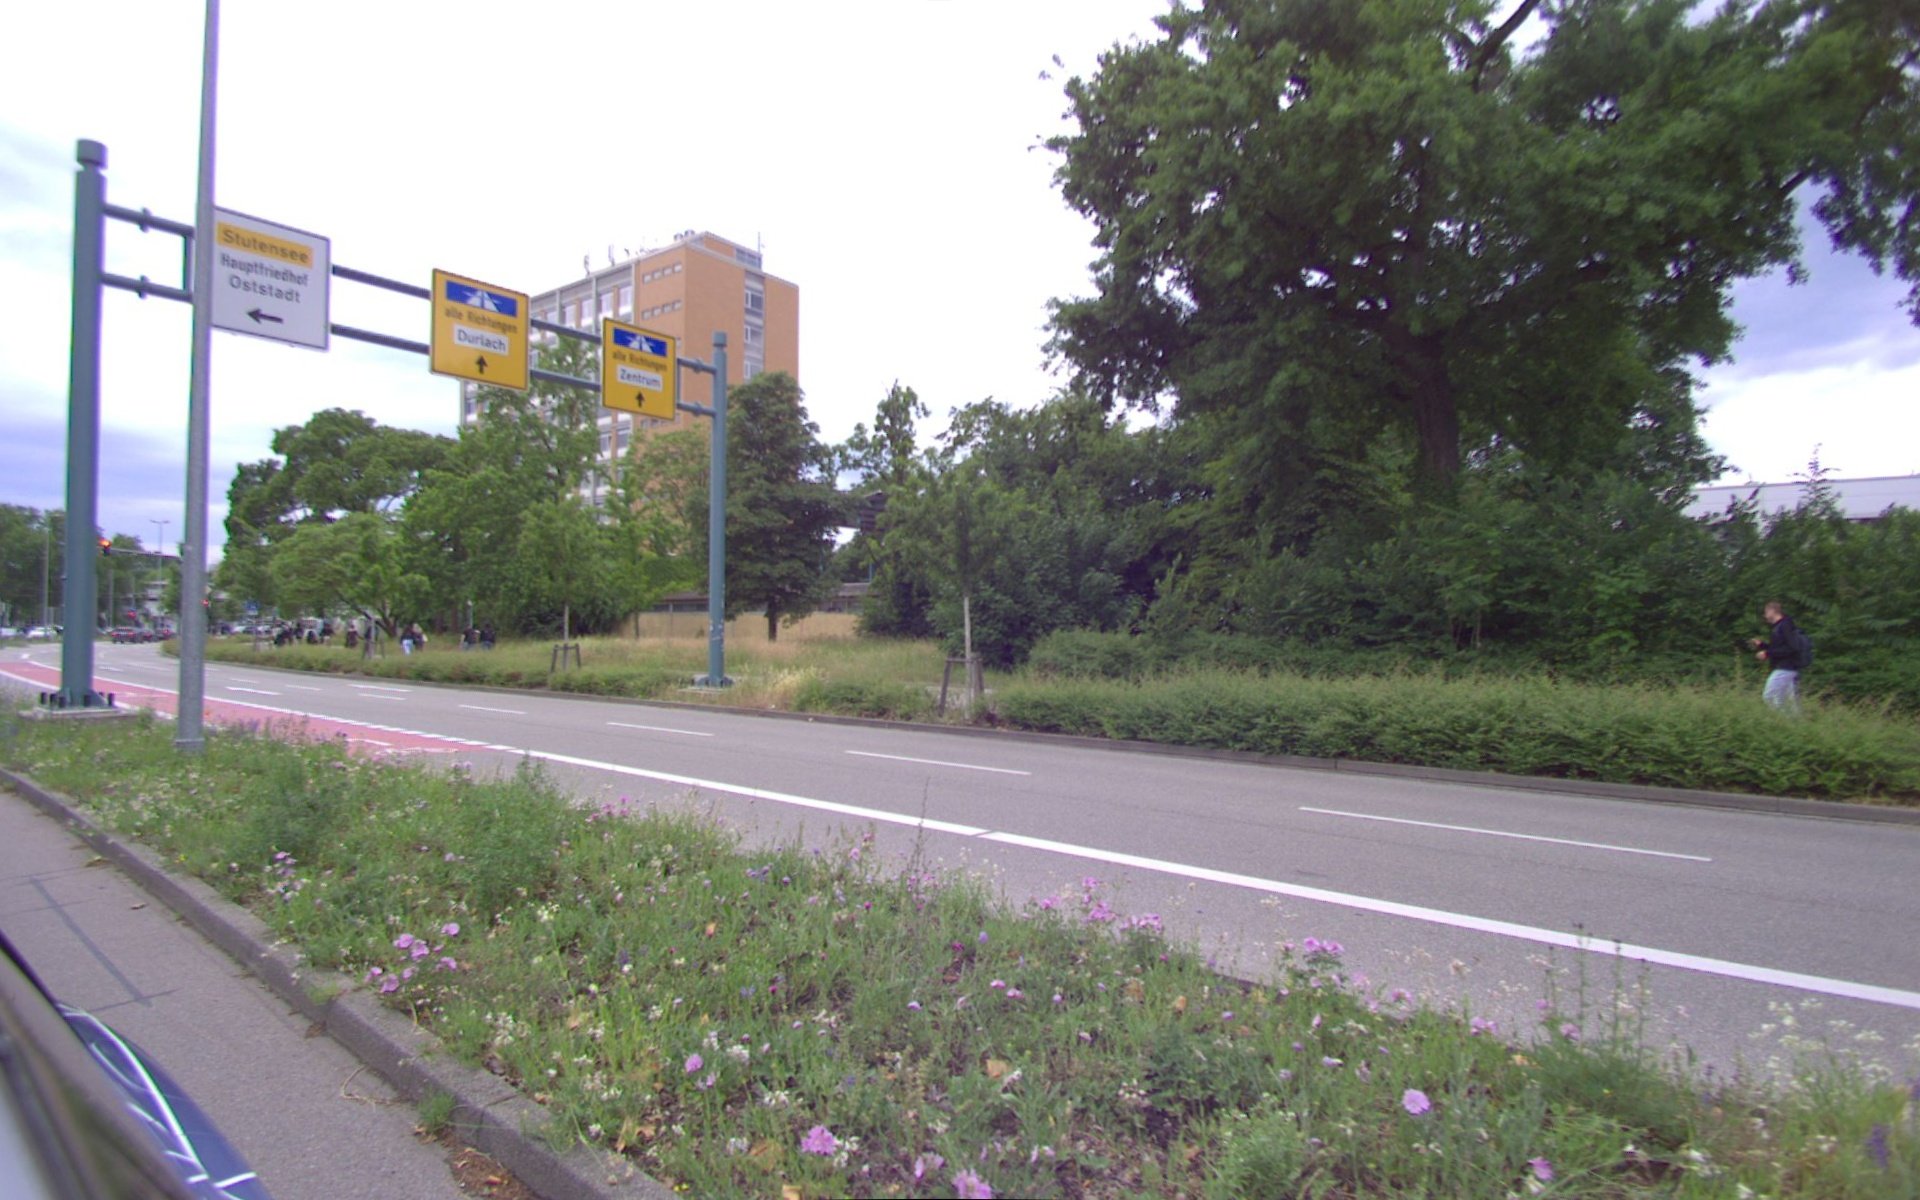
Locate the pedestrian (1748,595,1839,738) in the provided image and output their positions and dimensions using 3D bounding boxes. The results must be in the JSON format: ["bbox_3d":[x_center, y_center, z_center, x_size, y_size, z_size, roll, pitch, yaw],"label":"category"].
[{"bbox_3d":[10.533,0.830,12.798,0.818,1.742,0.613,-2,-4,41],"label":"pedestrian"}]

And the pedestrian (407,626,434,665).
[{"bbox_3d":[-23.415,1.988,43.943,0.766,1.685,0.700,-2,-4,35],"label":"pedestrian"}]

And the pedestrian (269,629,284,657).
[{"bbox_3d":[-44.608,2.799,66.036,0.762,1.815,0.630,-2,-3,45],"label":"pedestrian"}]

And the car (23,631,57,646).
[{"bbox_3d":[-105.267,4.438,115.806,1.774,1.608,3.771,2,-3,-24],"label":"car"}]

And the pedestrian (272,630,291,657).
[{"bbox_3d":[-38.237,2.454,57.044,0.813,1.491,0.720,-2,-4,45],"label":"pedestrian"}]

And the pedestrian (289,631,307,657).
[{"bbox_3d":[-37.687,2.493,57.612,0.762,1.491,0.628,-2,-4,45],"label":"pedestrian"}]

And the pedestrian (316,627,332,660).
[{"bbox_3d":[-33.649,2.328,53.509,0.571,1.725,0.763,3,-4,-39],"label":"pedestrian"}]

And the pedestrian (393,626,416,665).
[{"bbox_3d":[-23.845,1.943,43.427,0.719,1.673,0.580,-2,-4,35],"label":"pedestrian"}]

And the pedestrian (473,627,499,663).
[{"bbox_3d":[-18.294,1.739,39.059,0.680,1.373,0.638,-2,-4,39],"label":"pedestrian"}]

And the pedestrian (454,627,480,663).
[{"bbox_3d":[-18.750,1.714,38.482,0.711,1.368,0.638,-2,-4,40],"label":"pedestrian"}]

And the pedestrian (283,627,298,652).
[{"bbox_3d":[-46.390,2.756,70.136,0.890,1.683,0.698,-2,-2,45],"label":"pedestrian"}]

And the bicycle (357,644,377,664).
[{"bbox_3d":[-27.161,2.478,46.367,0.652,0.894,1.719,3,-4,-34],"label":"bicycle"}]

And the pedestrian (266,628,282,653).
[{"bbox_3d":[-47.043,2.767,69.398,0.943,1.683,0.698,-2,-2,45],"label":"pedestrian"}]

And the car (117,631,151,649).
[{"bbox_3d":[-82.006,3.948,100.528,1.785,1.680,3.962,2,-2,-27],"label":"car"}]

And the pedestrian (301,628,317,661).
[{"bbox_3d":[-33.987,2.311,52.817,0.613,1.708,0.748,3,-4,-36],"label":"pedestrian"}]

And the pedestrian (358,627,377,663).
[{"bbox_3d":[-27.142,2.057,46.369,0.652,1.644,0.765,3,-4,-34],"label":"pedestrian"}]

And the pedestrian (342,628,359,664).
[{"bbox_3d":[-27.689,2.092,45.981,0.567,1.621,0.618,3,-4,-33],"label":"pedestrian"}]

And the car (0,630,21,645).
[{"bbox_3d":[-100.250,3.943,105.998,1.582,1.608,3.771,2,-3,-24],"label":"car"}]
